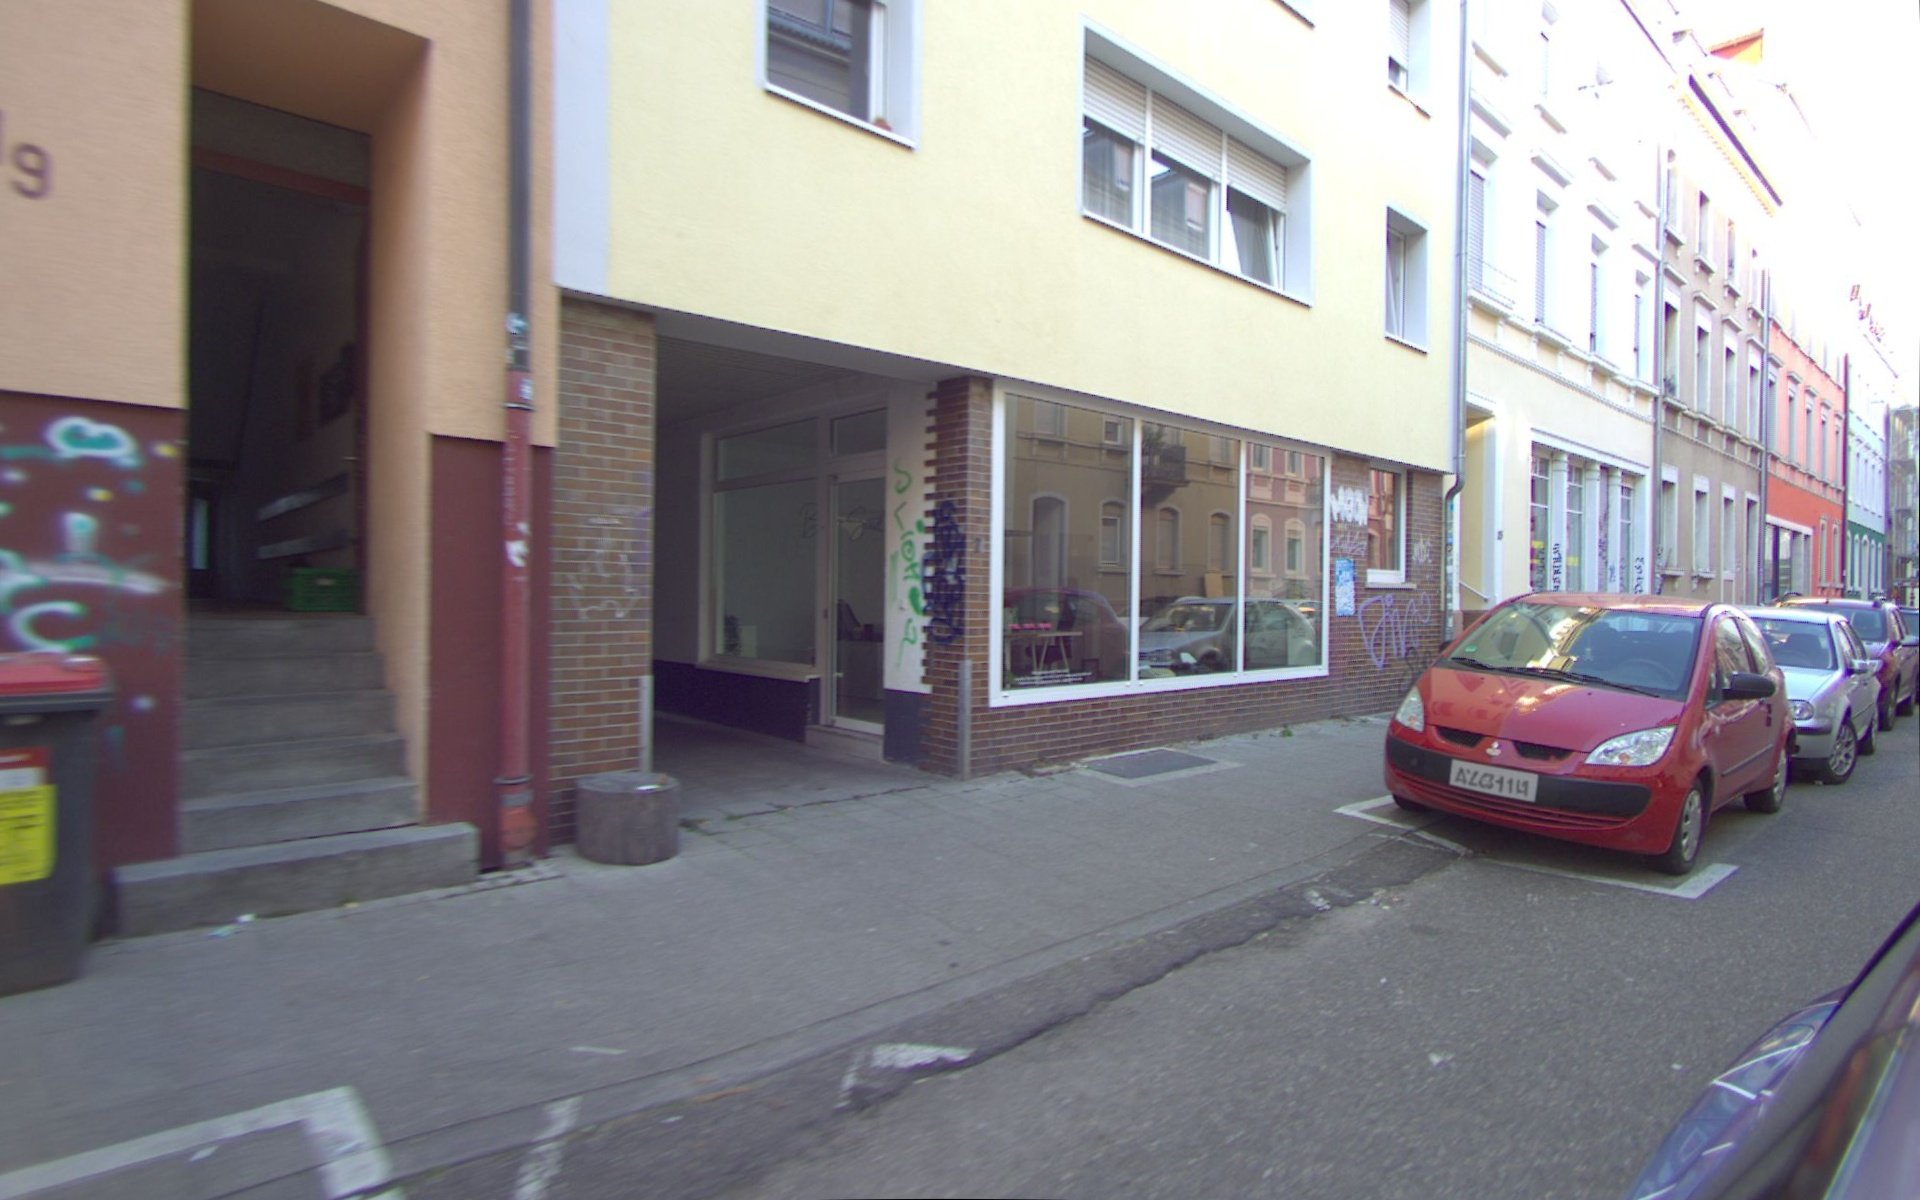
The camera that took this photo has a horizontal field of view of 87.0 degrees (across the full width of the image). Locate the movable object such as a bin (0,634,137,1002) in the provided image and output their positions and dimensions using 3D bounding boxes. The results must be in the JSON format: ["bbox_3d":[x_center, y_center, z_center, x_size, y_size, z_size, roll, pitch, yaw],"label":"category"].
[{"bbox_3d":[-3.191,0.683,3.333,0.723,1.071,0.694,0,3,-41],"label":"movable object such as a bin"}]

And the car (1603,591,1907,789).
[{"bbox_3d":[7.857,0.693,9.851,4.123,1.471,1.690,0,2,-43],"label":"car"}]

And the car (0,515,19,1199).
[{"bbox_3d":[-3.033,0.640,0.180,4.098,1.575,1.749,0,1,-41],"label":"car"}]

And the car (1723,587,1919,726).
[{"bbox_3d":[11.816,0.640,13.564,3.931,1.570,1.792,0,1,-42],"label":"car"}]

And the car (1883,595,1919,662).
[{"bbox_3d":[23.338,0.651,23.914,4.388,1.501,1.829,0,2,-42],"label":"car"}]

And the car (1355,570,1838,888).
[{"bbox_3d":[4.505,0.622,6.932,3.910,1.542,1.701,0,2,-41],"label":"car"}]

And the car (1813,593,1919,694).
[{"bbox_3d":[15.933,0.657,17.101,4.305,1.541,1.764,0,0,-42],"label":"car"}]
